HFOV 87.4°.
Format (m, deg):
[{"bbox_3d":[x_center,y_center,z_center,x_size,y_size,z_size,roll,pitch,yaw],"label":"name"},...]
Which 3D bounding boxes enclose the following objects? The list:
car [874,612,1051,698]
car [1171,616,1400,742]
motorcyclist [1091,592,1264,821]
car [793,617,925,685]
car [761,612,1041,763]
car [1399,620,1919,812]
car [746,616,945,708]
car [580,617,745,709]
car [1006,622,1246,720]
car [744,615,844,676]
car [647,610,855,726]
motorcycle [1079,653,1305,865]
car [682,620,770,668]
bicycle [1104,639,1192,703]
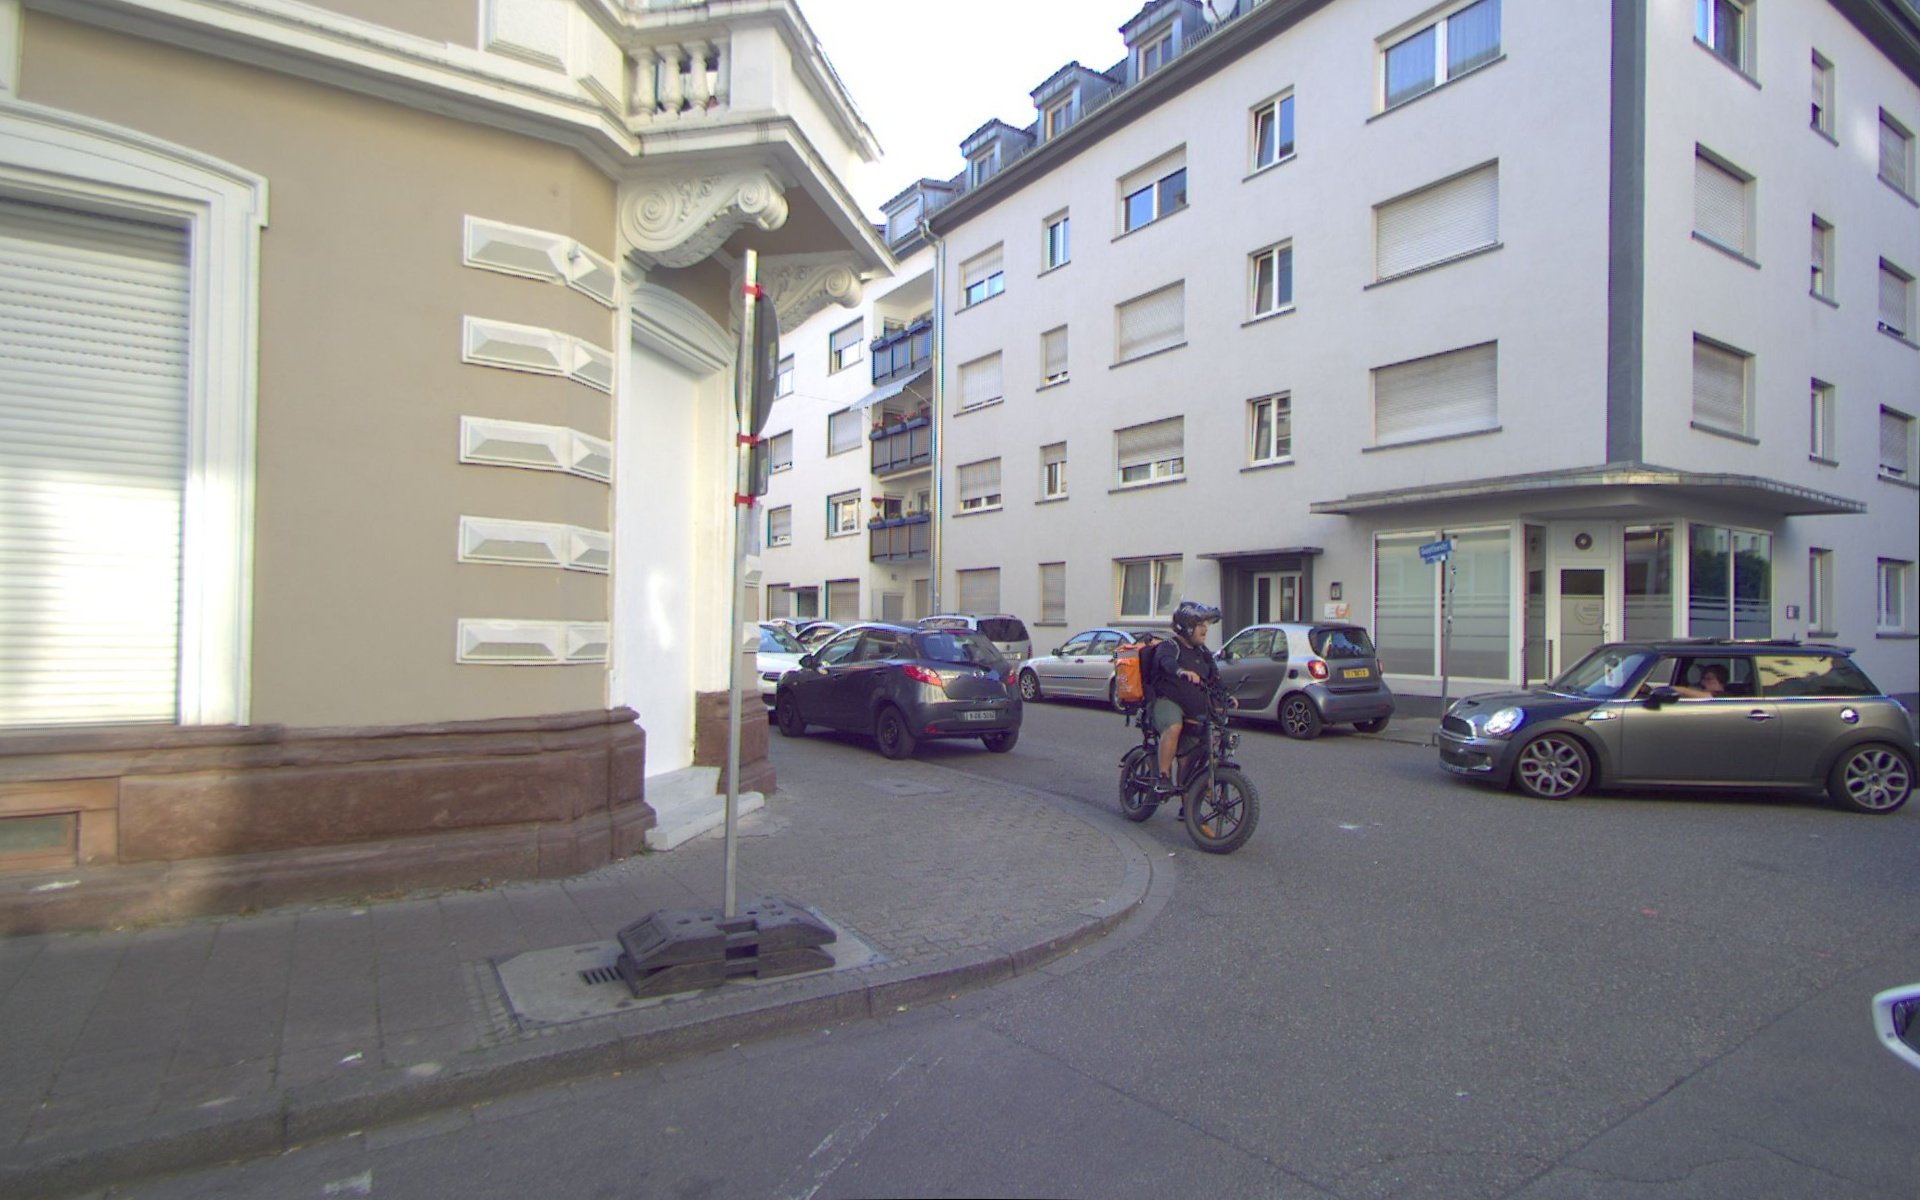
[{"bbox_3d":[-0.039,1.127,22.049,1.979,1.675,4.055,1,-1,-34],"label":"car"},{"bbox_3d":[4.615,1.054,14.482,1.630,1.586,2.740,1,-1,-32],"label":"car"},{"bbox_3d":[1.627,0.736,7.640,0.862,1.589,0.993,0,1,-25],"label":"motorcyclist"},{"bbox_3d":[-2.685,1.257,25.924,1.611,1.581,4.053,1,-1,-35],"label":"car"},{"bbox_3d":[-0.834,0.928,12.122,1.672,1.499,3.551,2,-1,-37],"label":"car"},{"bbox_3d":[6.486,0.982,9.393,3.919,1.506,2.001,1,-1,5],"label":"car"},{"bbox_3d":[-2.347,1.097,19.392,1.979,1.506,4.621,1,-1,-33],"label":"car"},{"bbox_3d":[-5.986,1.162,19.930,1.989,1.581,4.054,2,-1,-34],"label":"car"},{"bbox_3d":[2.840,1.171,18.069,1.947,1.472,4.226,1,-1,-32],"label":"car"},{"bbox_3d":[-5.003,1.311,29.925,1.641,1.666,3.574,1,-1,-33],"label":"car"},{"bbox_3d":[-3.458,0.972,16.062,1.817,1.581,4.053,2,-1,-35],"label":"car"},{"bbox_3d":[1.672,1.099,7.544,0.796,1.266,1.688,0,1,-24],"label":"motorcycle"},{"bbox_3d":[-8.078,1.475,34.440,1.574,1.507,3.944,1,-1,-35],"label":"car"},{"bbox_3d":[3.848,1.436,20.731,0.484,1.152,2.038,2,0,-34],"label":"bicycle"}]
